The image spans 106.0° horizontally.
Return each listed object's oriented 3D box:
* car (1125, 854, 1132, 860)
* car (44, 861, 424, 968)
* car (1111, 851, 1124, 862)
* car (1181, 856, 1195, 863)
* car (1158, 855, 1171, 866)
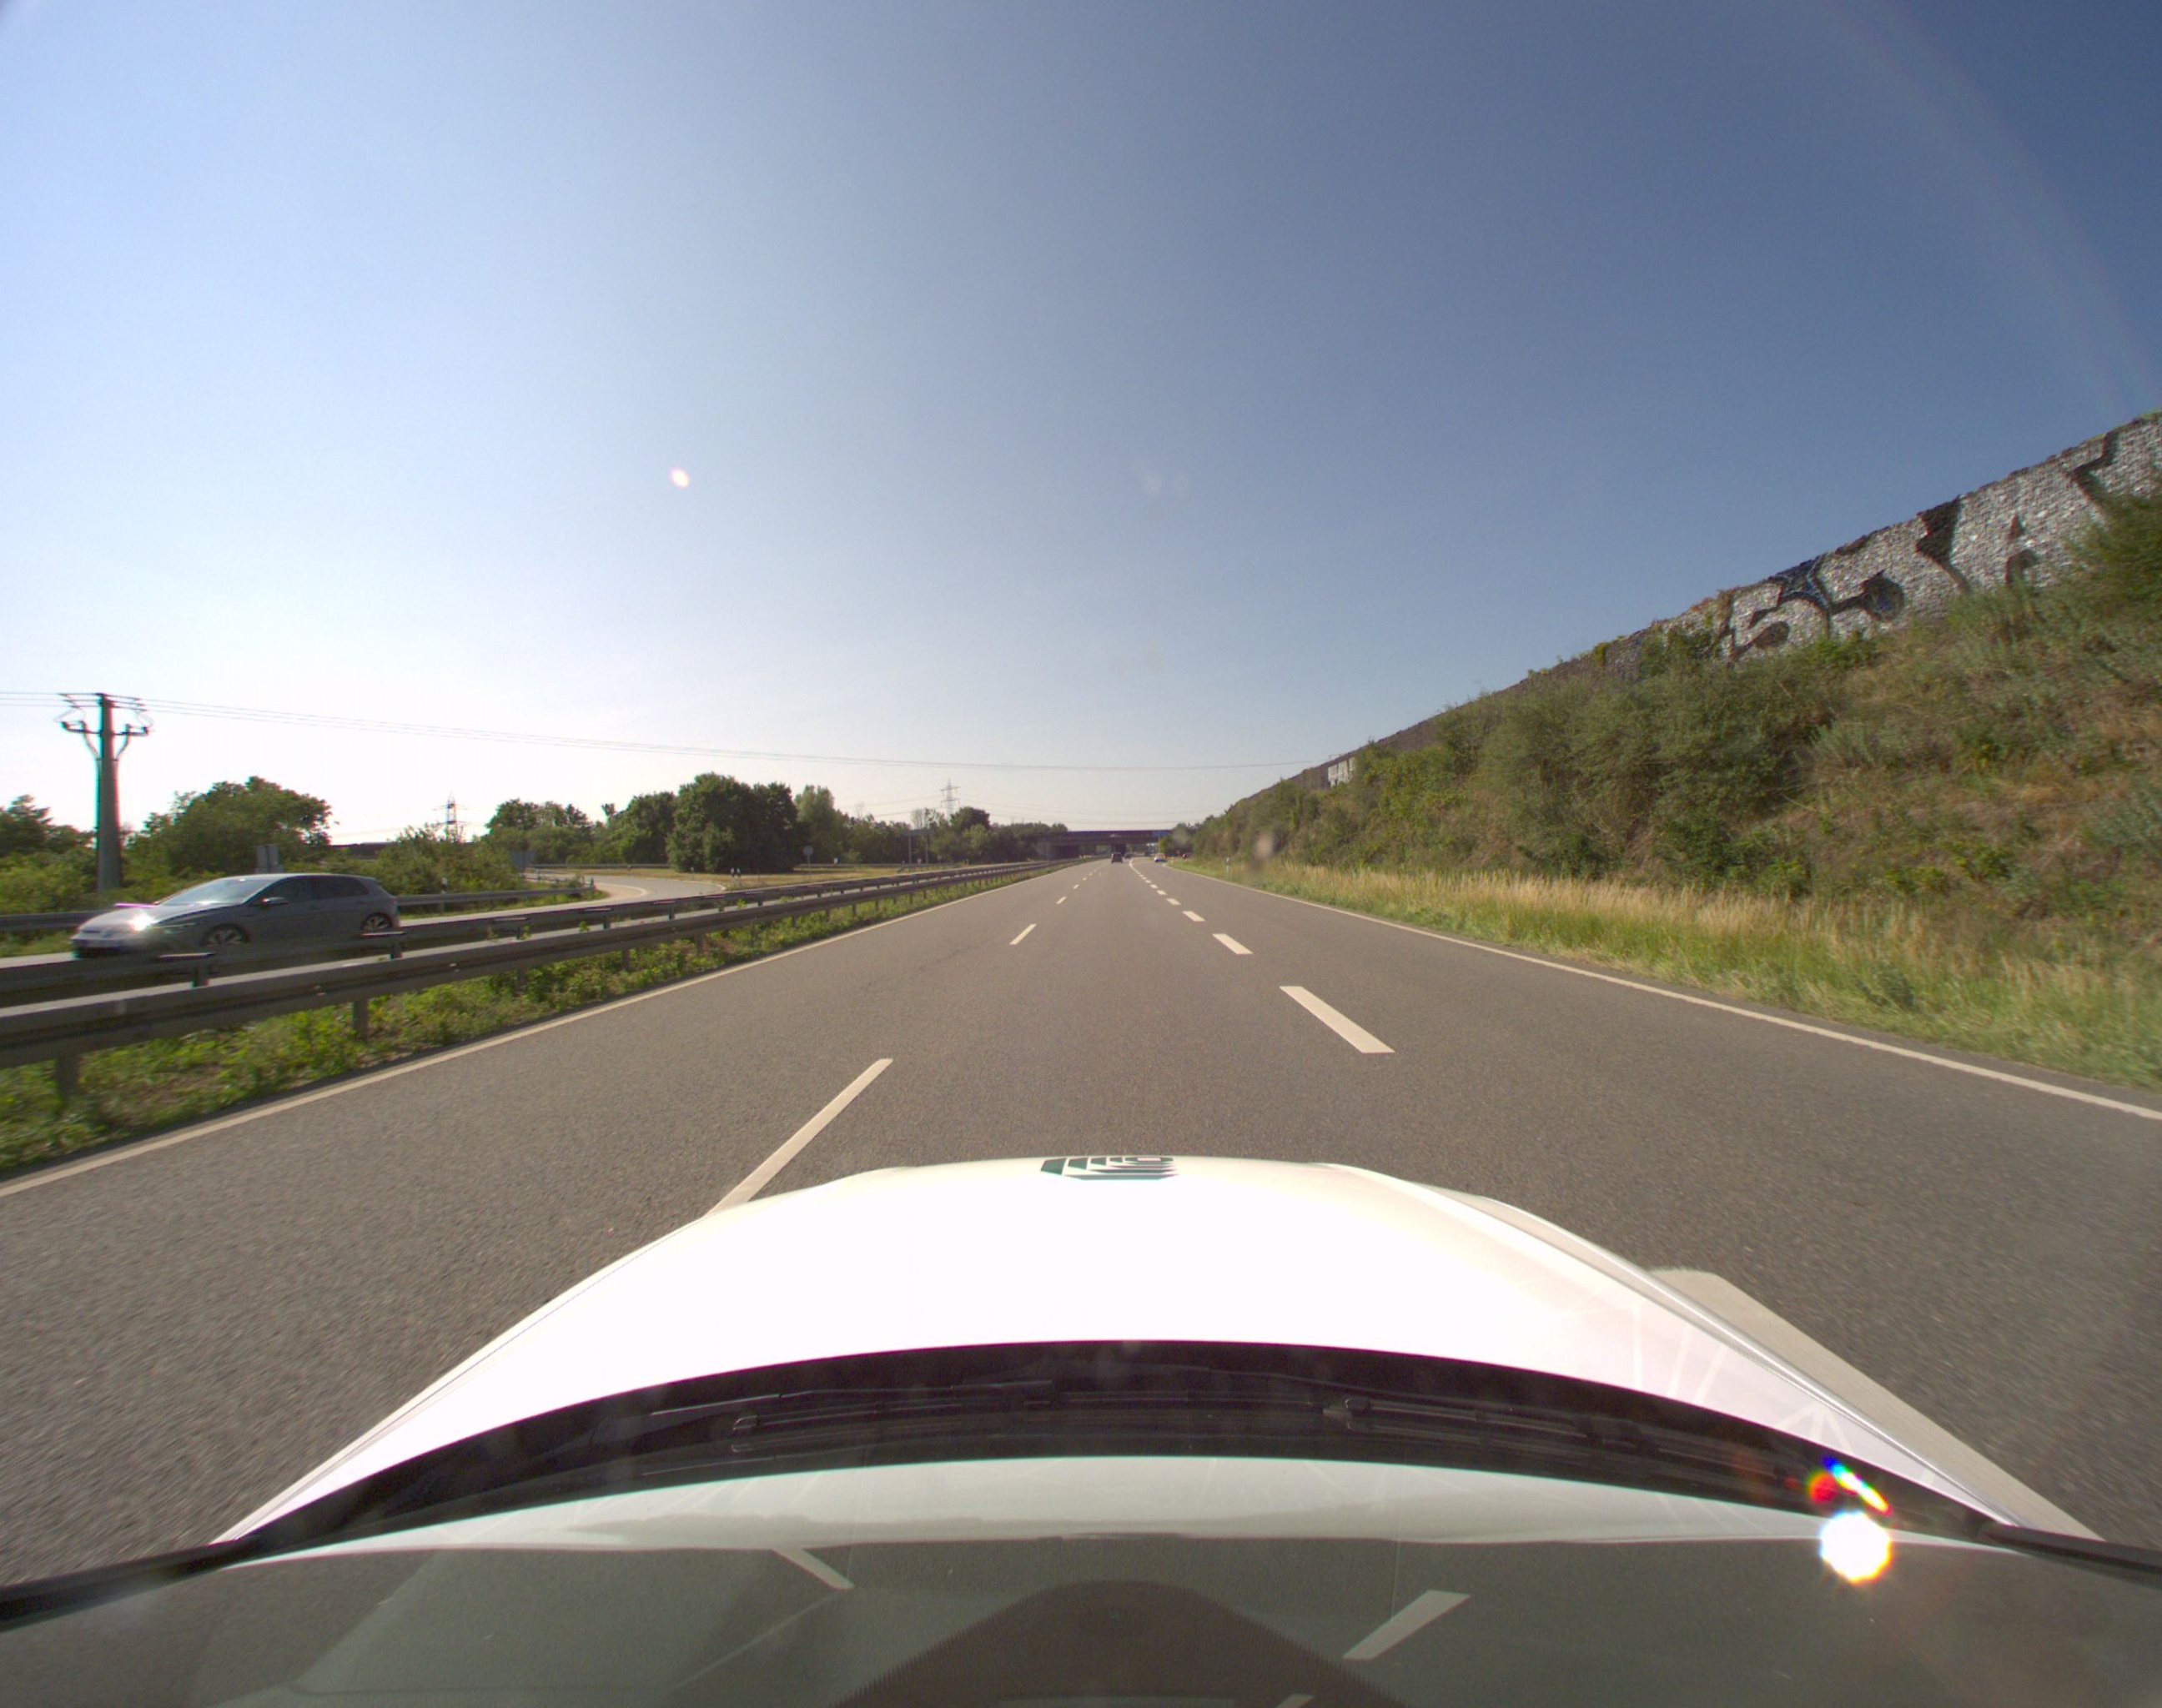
[{"bbox_3d":[12.506,0.760,214.701,1.841,1.644,4.005,-1,0,5],"label":"car"},{"bbox_3d":[-14.339,0.908,14.298,1.693,1.485,4.622,1,0,2],"label":"car"},{"bbox_3d":[5.958,0.438,131.990,1.841,1.644,4.005,-1,0,5],"label":"car"},{"bbox_3d":[21.176,1.057,161.126,1.885,1.297,4.021,1,0,22],"label":"car"},{"bbox_3d":[13.439,1.090,131.316,1.785,1.665,4.011,1,0,9],"label":"car"}]
